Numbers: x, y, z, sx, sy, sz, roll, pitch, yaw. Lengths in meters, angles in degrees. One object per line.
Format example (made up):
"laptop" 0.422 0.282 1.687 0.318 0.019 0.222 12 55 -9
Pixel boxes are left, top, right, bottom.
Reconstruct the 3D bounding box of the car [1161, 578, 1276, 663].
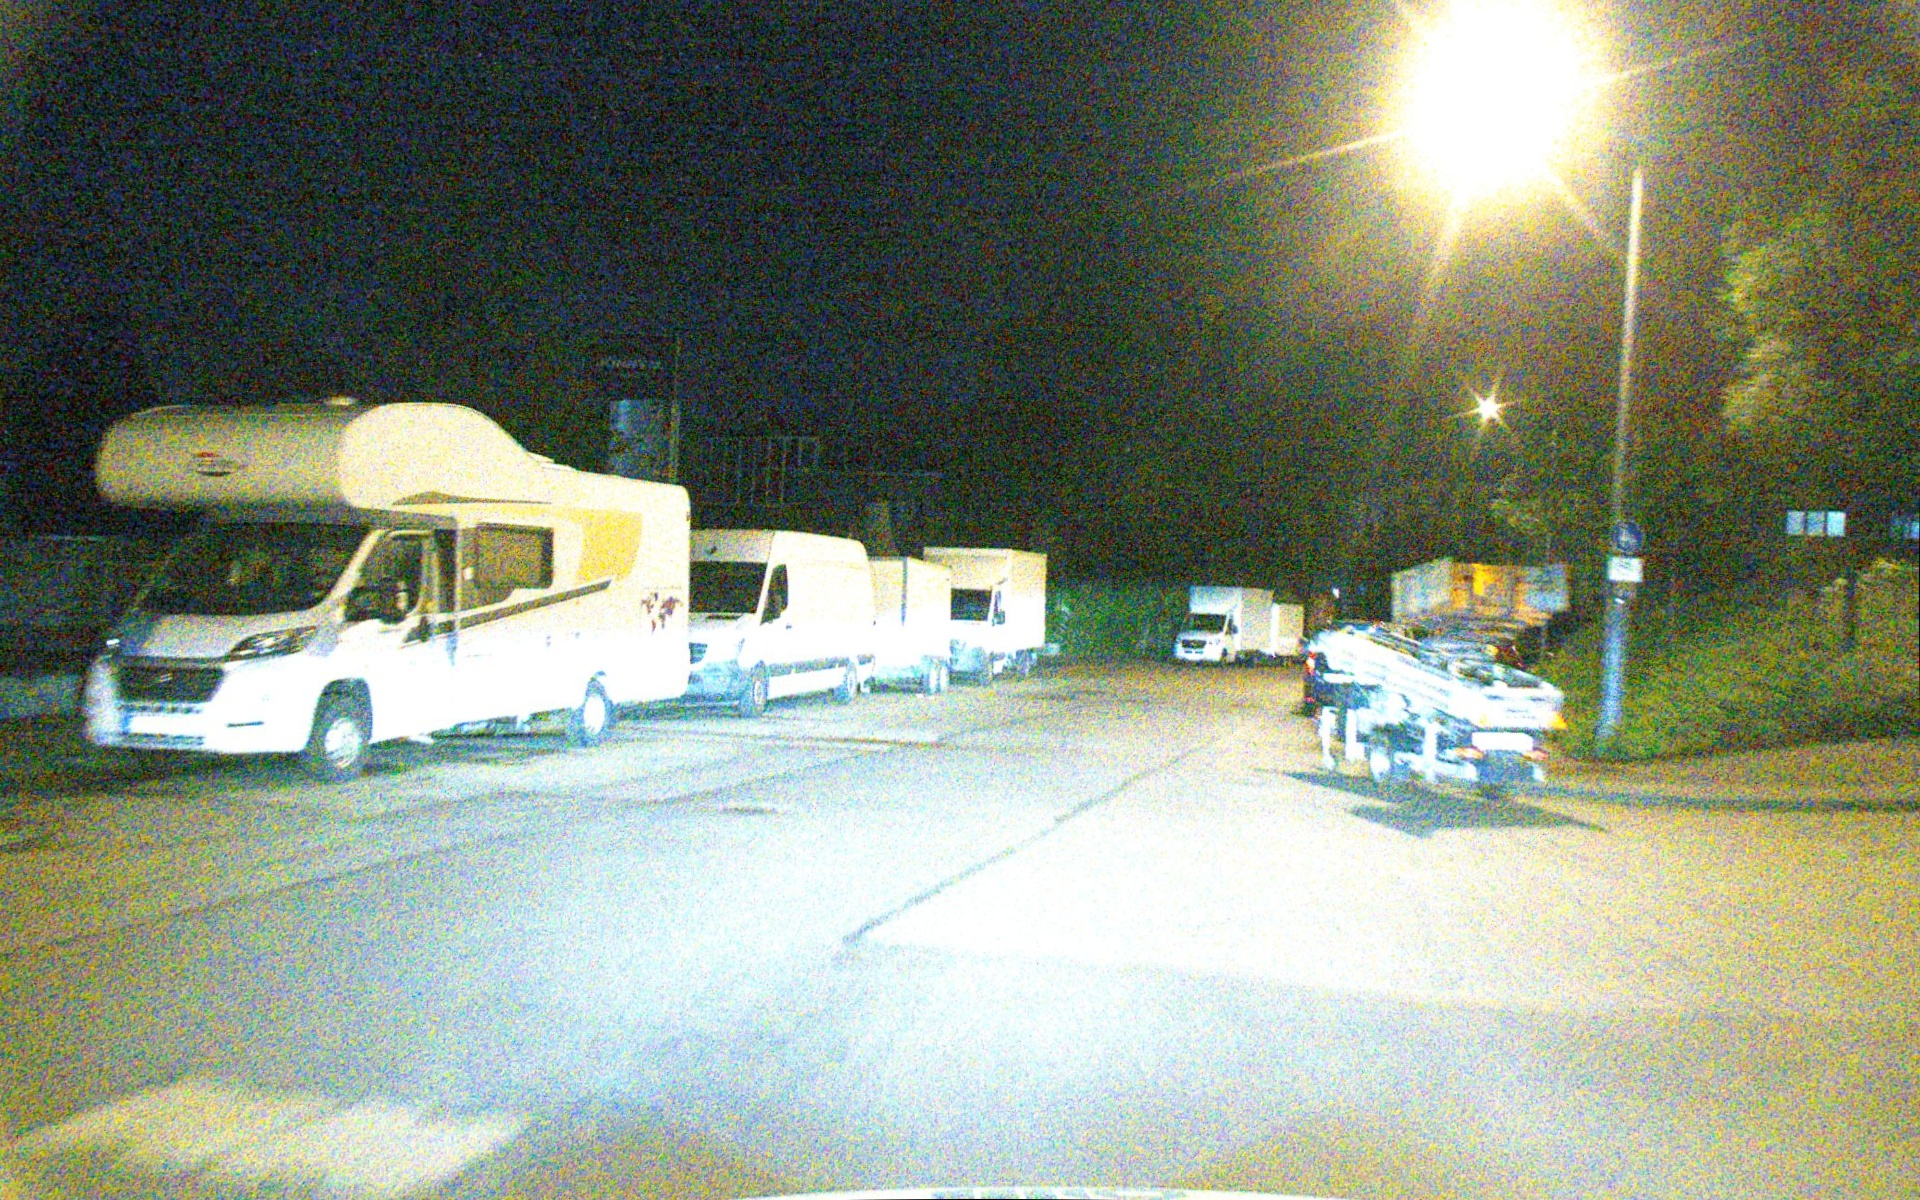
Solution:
"car" 10.617 0.822 67.365 2.470 3.227 7.128 1 0 27

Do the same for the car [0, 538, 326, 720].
"car" -14.811 0.486 29.141 1.962 2.891 6.649 4 1 38

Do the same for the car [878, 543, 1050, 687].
"car" 0.257 0.332 38.382 2.465 2.978 7.207 1 0 12

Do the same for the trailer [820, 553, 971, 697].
"trailer" -1.169 0.445 31.736 1.951 2.572 3.570 1 0 14

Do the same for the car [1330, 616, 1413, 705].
"car" 9.679 1.391 38.854 1.684 1.852 4.003 4 0 14

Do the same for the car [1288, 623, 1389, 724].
"car" 7.319 1.372 31.808 1.684 1.690 4.003 4 0 14

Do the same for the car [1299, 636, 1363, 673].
"car" 18.691 2.756 83.237 1.956 1.729 4.199 3 -1 29

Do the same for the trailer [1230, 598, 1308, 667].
"trailer" 13.692 1.405 73.060 1.956 2.862 4.695 3 1 28

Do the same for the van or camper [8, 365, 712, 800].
"van or camper" -5.063 -0.116 15.890 2.465 3.148 7.450 1 0 15

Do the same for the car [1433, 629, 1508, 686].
"car" 18.035 2.038 58.336 1.689 1.852 3.993 4 -1 29

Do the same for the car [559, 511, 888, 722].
"car" -3.213 0.234 24.711 2.465 2.651 7.097 1 0 13

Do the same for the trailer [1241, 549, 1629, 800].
"trailer" 4.674 0.683 17.215 1.532 2.198 5.204 2 -1 -13

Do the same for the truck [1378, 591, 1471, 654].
"truck" 27.524 1.351 97.745 1.962 3.462 8.939 4 1 37

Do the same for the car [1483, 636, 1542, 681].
"car" 24.429 2.596 73.117 1.689 1.852 3.993 4 -1 29
